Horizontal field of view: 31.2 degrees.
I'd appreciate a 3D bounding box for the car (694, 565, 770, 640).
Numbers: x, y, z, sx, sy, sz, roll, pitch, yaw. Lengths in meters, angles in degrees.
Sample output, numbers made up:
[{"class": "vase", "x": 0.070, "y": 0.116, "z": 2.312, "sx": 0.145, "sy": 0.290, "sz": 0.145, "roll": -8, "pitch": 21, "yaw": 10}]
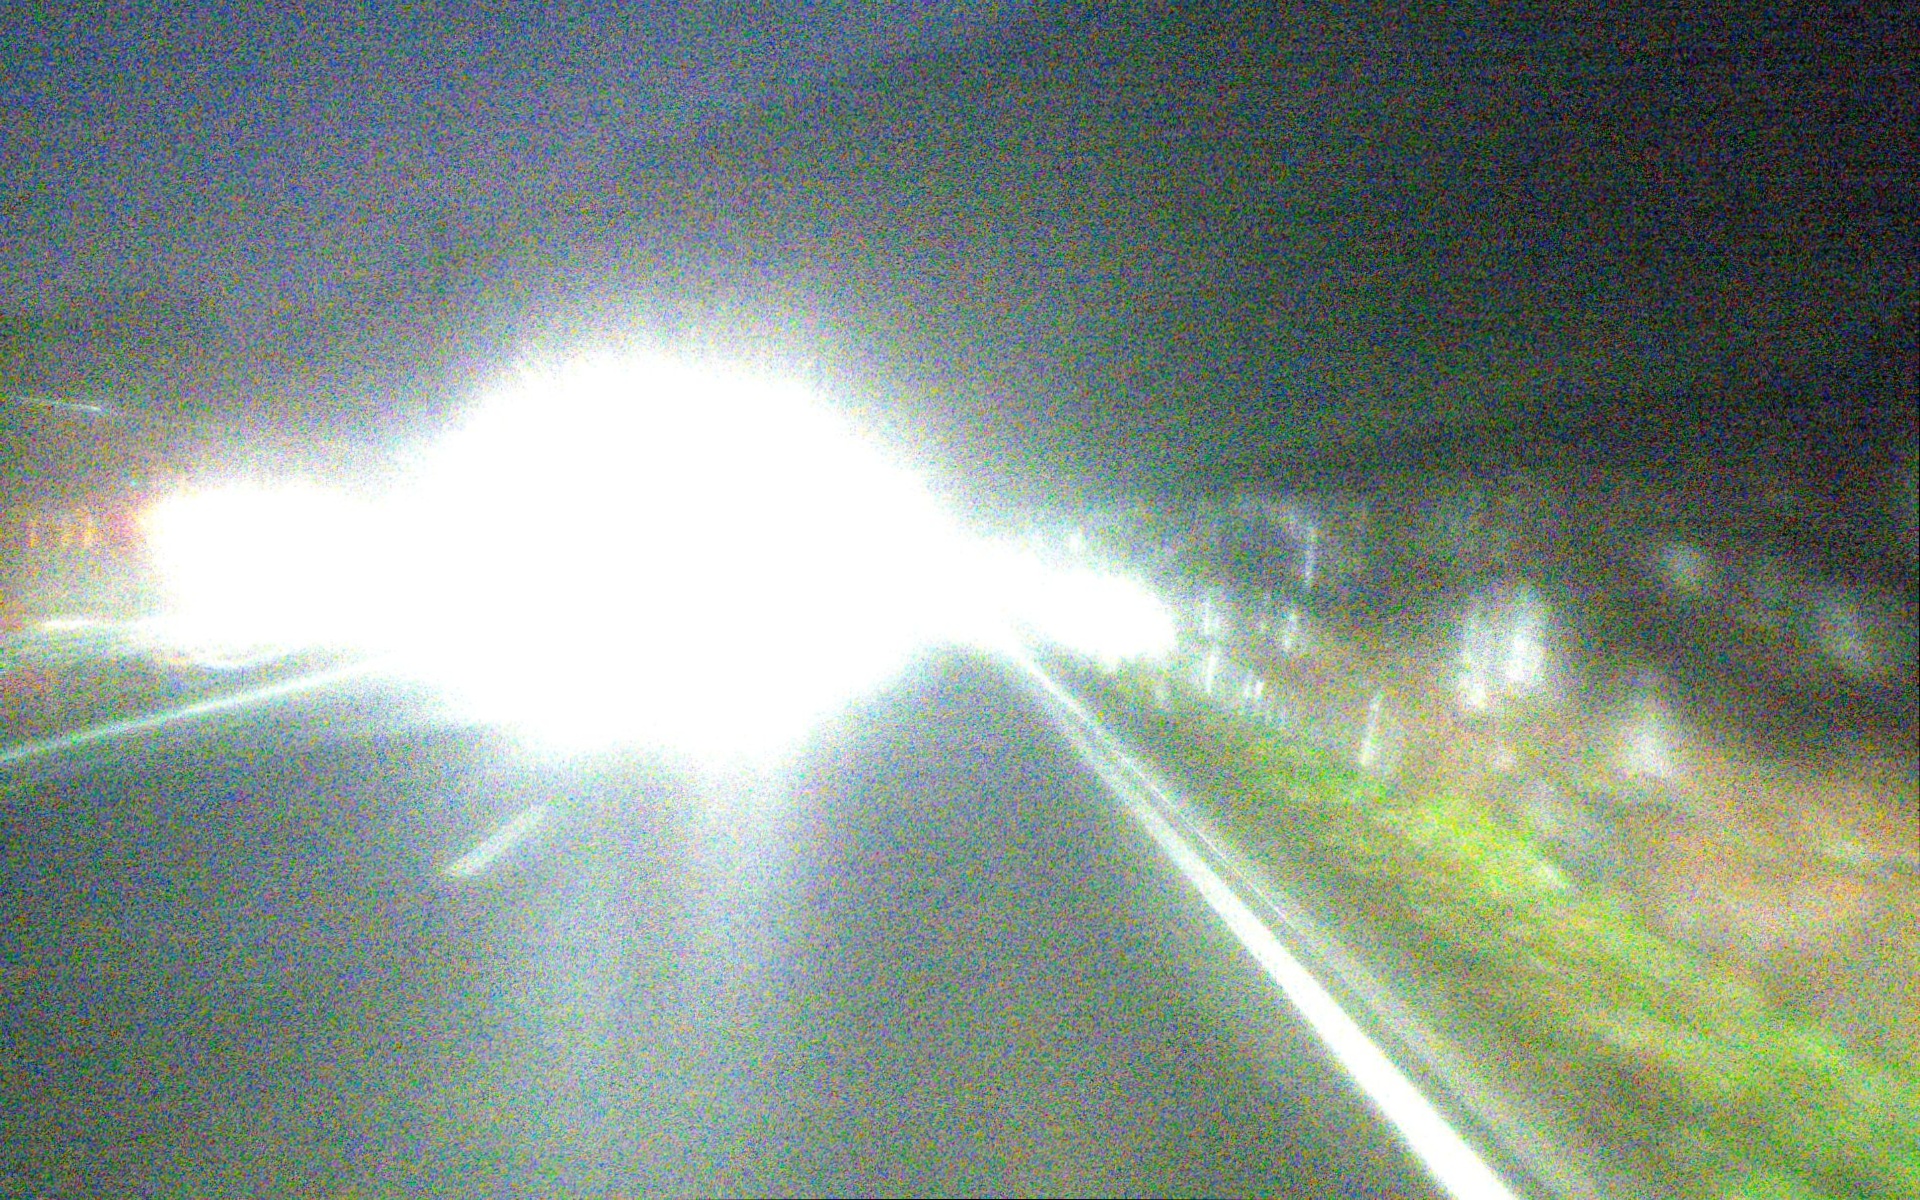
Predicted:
[{"class": "car", "x": -6.620, "y": 0.089, "z": 100.231, "sx": 1.993, "sy": 2.007, "sz": 4.000, "roll": 4, "pitch": -1, "yaw": -3}]
